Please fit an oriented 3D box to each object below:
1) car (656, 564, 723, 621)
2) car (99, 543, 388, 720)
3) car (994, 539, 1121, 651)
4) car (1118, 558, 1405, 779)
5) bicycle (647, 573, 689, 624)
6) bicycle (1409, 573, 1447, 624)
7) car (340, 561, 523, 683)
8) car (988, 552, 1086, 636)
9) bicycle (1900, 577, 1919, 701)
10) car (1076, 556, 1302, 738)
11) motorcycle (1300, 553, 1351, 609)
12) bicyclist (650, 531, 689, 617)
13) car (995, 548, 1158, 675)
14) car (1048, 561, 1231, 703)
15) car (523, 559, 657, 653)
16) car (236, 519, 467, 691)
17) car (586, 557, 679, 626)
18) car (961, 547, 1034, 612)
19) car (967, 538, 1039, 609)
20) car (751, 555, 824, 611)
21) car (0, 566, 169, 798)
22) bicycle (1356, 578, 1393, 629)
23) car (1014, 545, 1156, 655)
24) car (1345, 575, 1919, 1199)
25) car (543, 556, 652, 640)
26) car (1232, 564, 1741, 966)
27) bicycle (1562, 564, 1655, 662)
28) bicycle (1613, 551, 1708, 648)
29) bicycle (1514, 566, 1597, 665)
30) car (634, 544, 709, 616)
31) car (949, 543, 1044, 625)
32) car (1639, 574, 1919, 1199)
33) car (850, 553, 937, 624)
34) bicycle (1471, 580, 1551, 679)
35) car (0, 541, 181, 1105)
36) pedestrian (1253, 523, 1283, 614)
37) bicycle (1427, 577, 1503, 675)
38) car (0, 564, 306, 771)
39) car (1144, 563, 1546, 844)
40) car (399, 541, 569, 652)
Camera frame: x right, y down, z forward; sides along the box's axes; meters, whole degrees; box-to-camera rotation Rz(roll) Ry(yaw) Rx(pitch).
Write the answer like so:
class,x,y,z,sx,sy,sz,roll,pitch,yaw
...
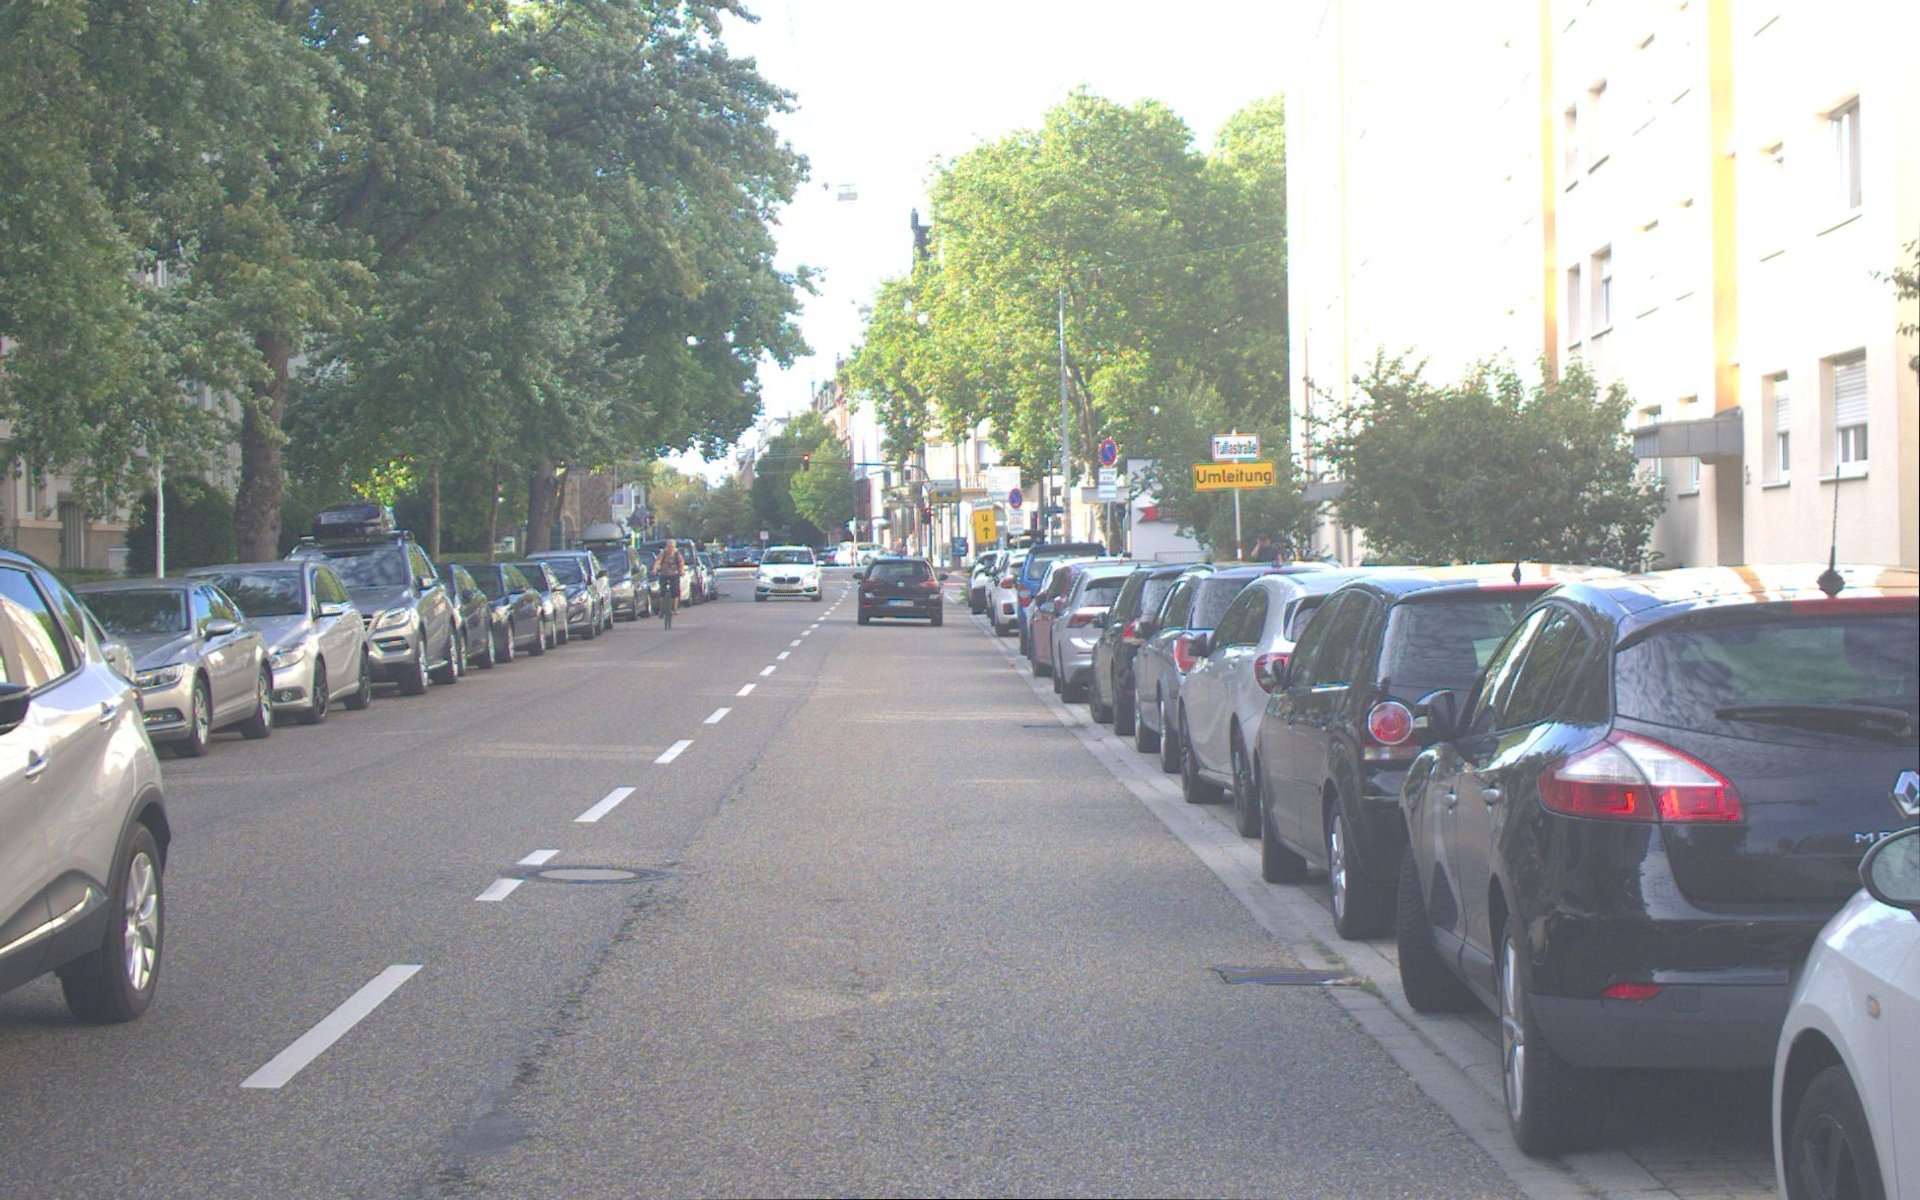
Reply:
class,x,y,z,sx,sy,sz,roll,pitch,yaw
car,-8.124,-0.240,103.420,1.799,1.614,3.803,-2,1,-2
car,-6.921,0.264,33.663,1.855,1.568,4.460,-2,1,0
car,1.489,-0.095,53.669,1.728,1.644,4.117,-1,1,-2
car,2.166,0.442,25.718,1.683,1.480,4.293,-1,1,-1
bicycle,-5.467,-0.030,64.431,0.642,0.920,1.858,-1,1,-1
bicycle,8.804,-0.029,64.682,0.458,0.924,1.517,-1,1,-2
car,-7.093,0.264,46.492,1.685,1.476,4.119,-3,1,1
car,1.395,-0.138,63.816,1.728,1.482,4.641,-1,1,0
bicycle,8.271,0.316,27.960,0.593,1.027,2.119,-3,0,-1
car,2.005,0.386,31.028,1.661,1.486,3.942,-2,0,-1
motorcycle,6.913,-0.369,65.104,0.630,1.041,2.394,0,0,-2
bicyclist,-5.450,-0.490,64.579,0.641,1.595,0.990,-1,1,-1
car,1.445,0.118,43.977,1.728,1.510,4.192,-1,1,-3
car,1.897,0.316,37.368,1.661,1.411,4.059,-2,0,-1
car,-6.463,0.084,60.365,1.614,1.463,4.013,-5,0,3
car,-6.933,0.027,39.677,1.877,1.787,4.971,-2,1,-2
car,-7.541,-0.212,79.433,1.700,1.482,3.848,-2,1,0
car,0.929,-0.514,83.937,1.690,1.523,4.237,-1,1,2
car,0.972,-0.613,78.604,1.551,1.552,3.468,-1,1,0
car,-4.832,-0.488,96.631,1.859,1.523,4.011,0,1,0
car,-6.684,0.511,23.064,1.738,1.388,4.666,-3,1,-2
bicycle,7.839,0.062,65.058,0.458,0.938,1.517,-1,1,-2
car,1.728,-0.023,48.686,1.728,1.456,4.117,-1,1,-2
car,2.167,0.669,9.968,1.683,1.430,4.206,-1,1,1
car,-7.767,-0.072,74.019,1.799,1.662,4.482,-2,1,0
car,2.164,0.612,15.067,1.683,1.496,3.874,-1,1,1
bicycle,8.839,0.162,46.937,0.726,1.286,2.635,-1,0,-1
bicycle,9.561,-0.017,47.006,0.726,1.286,2.635,1,0,-1
bicycle,8.114,0.199,46.929,0.595,1.286,2.635,-3,0,-1
car,-7.849,-0.566,93.792,1.723,1.876,4.192,-2,1,-1
car,0.716,-0.334,69.669,1.728,1.575,4.117,-1,1,-2
car,2.403,0.695,5.064,1.683,1.463,4.207,-1,1,-4
car,-1.361,-0.257,71.337,1.751,1.409,4.000,1,1,-1
bicycle,7.511,0.389,46.946,0.604,1.286,2.635,-2,0,-1
car,-3.432,0.595,9.486,1.740,1.496,4.010,0,0,-2
pedestrian,5.871,-0.599,65.478,0.542,1.715,0.771,-1,1,5
bicycle,6.874,0.333,46.922,0.604,1.286,2.635,-1,0,-1
car,-6.826,0.497,28.507,1.855,1.481,4.944,-3,1,-1
car,2.171,0.530,20.458,1.699,1.458,4.180,-1,1,-3
car,-7.042,-0.074,51.271,1.685,1.476,4.451,-3,1,2
